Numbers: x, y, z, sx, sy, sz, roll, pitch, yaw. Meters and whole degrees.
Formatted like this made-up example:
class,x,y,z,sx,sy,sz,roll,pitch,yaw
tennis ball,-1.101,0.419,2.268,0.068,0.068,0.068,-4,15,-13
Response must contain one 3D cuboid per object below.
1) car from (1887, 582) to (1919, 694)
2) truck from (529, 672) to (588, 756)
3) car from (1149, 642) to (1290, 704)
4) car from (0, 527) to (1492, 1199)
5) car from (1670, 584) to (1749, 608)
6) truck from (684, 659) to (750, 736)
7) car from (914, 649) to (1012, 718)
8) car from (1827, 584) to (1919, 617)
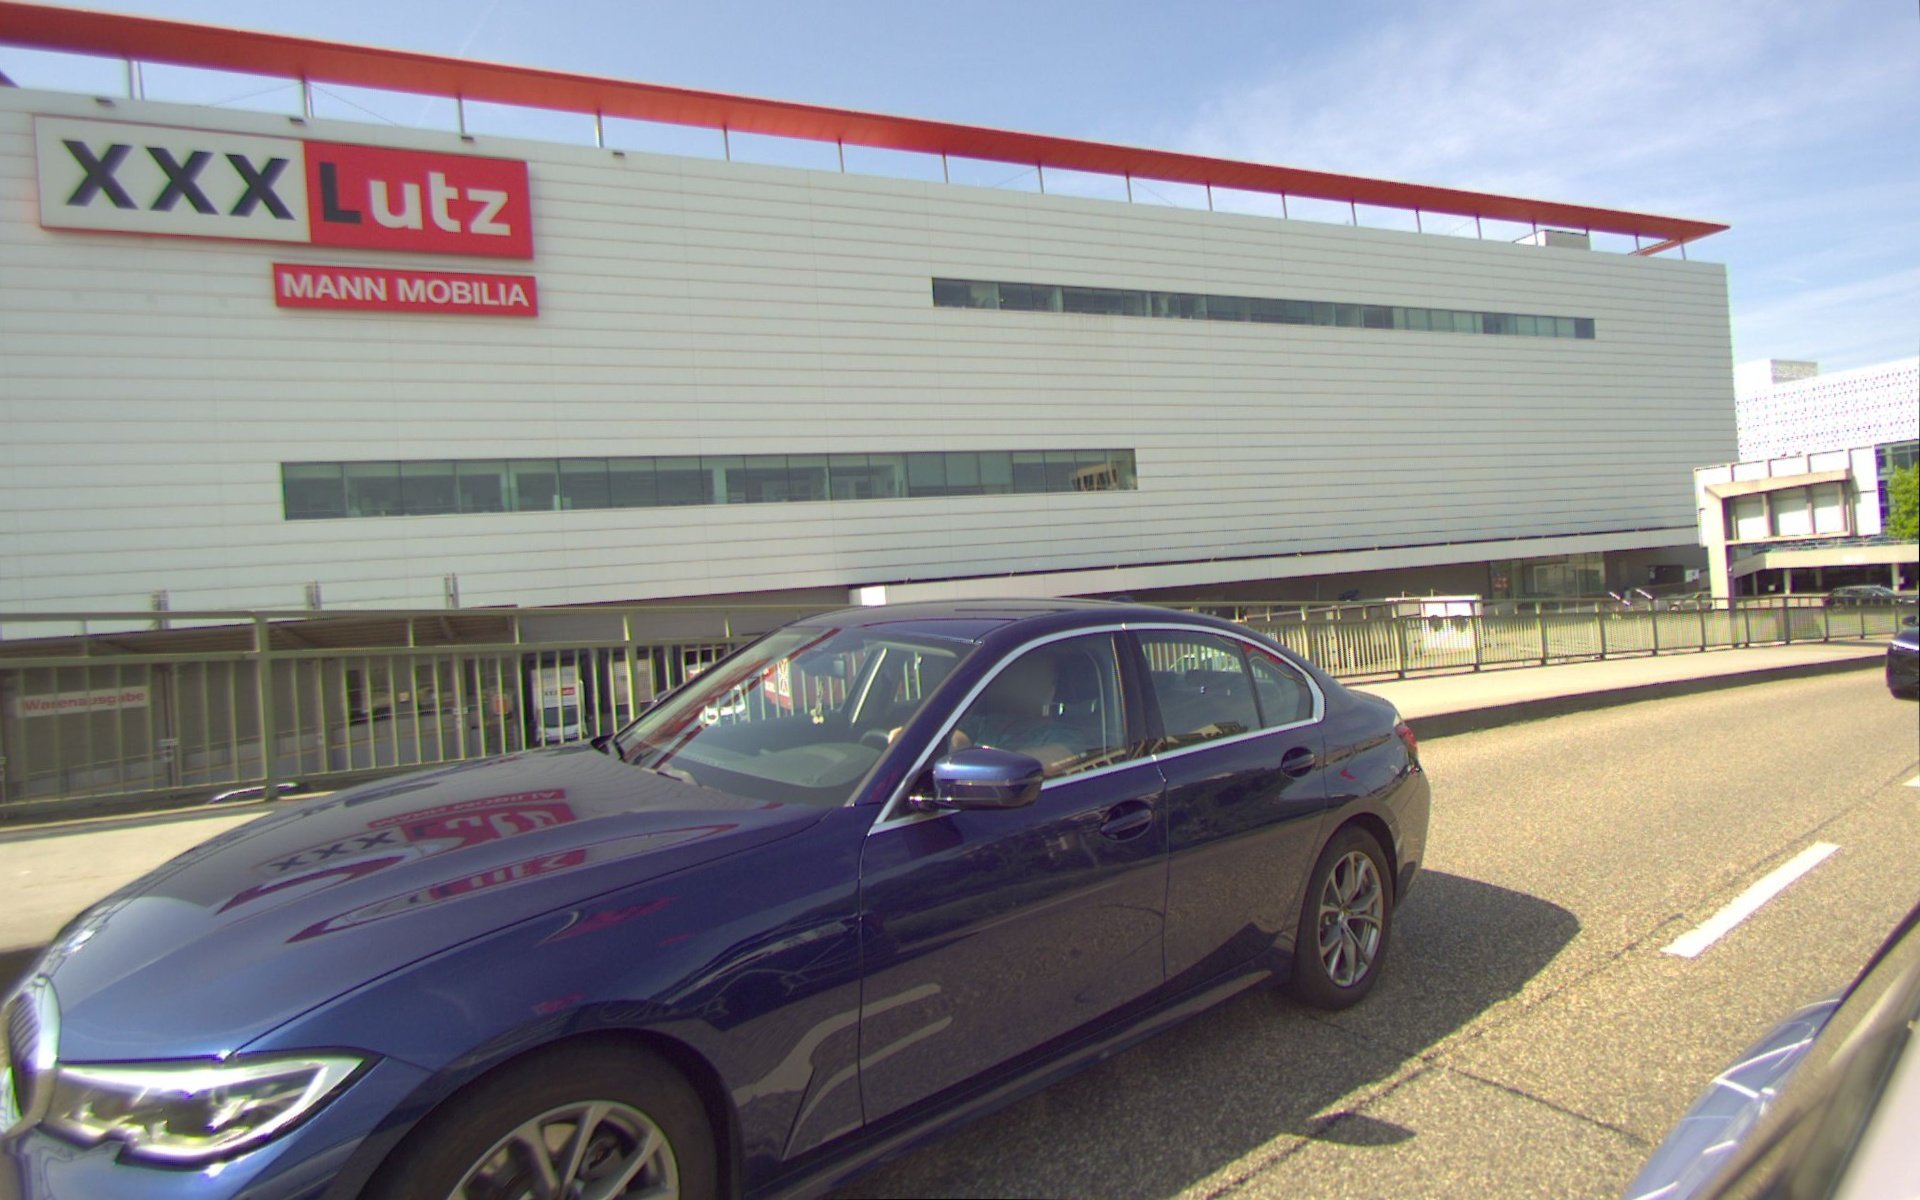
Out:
class,x,y,z,sx,sy,sz,roll,pitch,yaw
car,15.271,0.545,14.641,4.064,1.548,1.863,0,0,-34
truck,-17.649,4.892,44.685,2.088,2.964,6.022,-4,0,-20
car,11.529,3.184,44.906,5.889,2.029,2.136,-4,2,-23
car,-0.106,0.623,3.413,4.443,1.502,1.790,-5,1,-41
car,50.940,-0.274,68.839,1.774,1.393,3.874,-3,-1,-24
truck,-11.411,4.440,47.155,2.088,2.964,6.022,-4,0,-20
car,0.018,3.694,46.049,2.088,2.653,6.021,-4,0,-23
car,52.714,0.043,57.857,1.824,1.754,4.426,-4,0,-14
